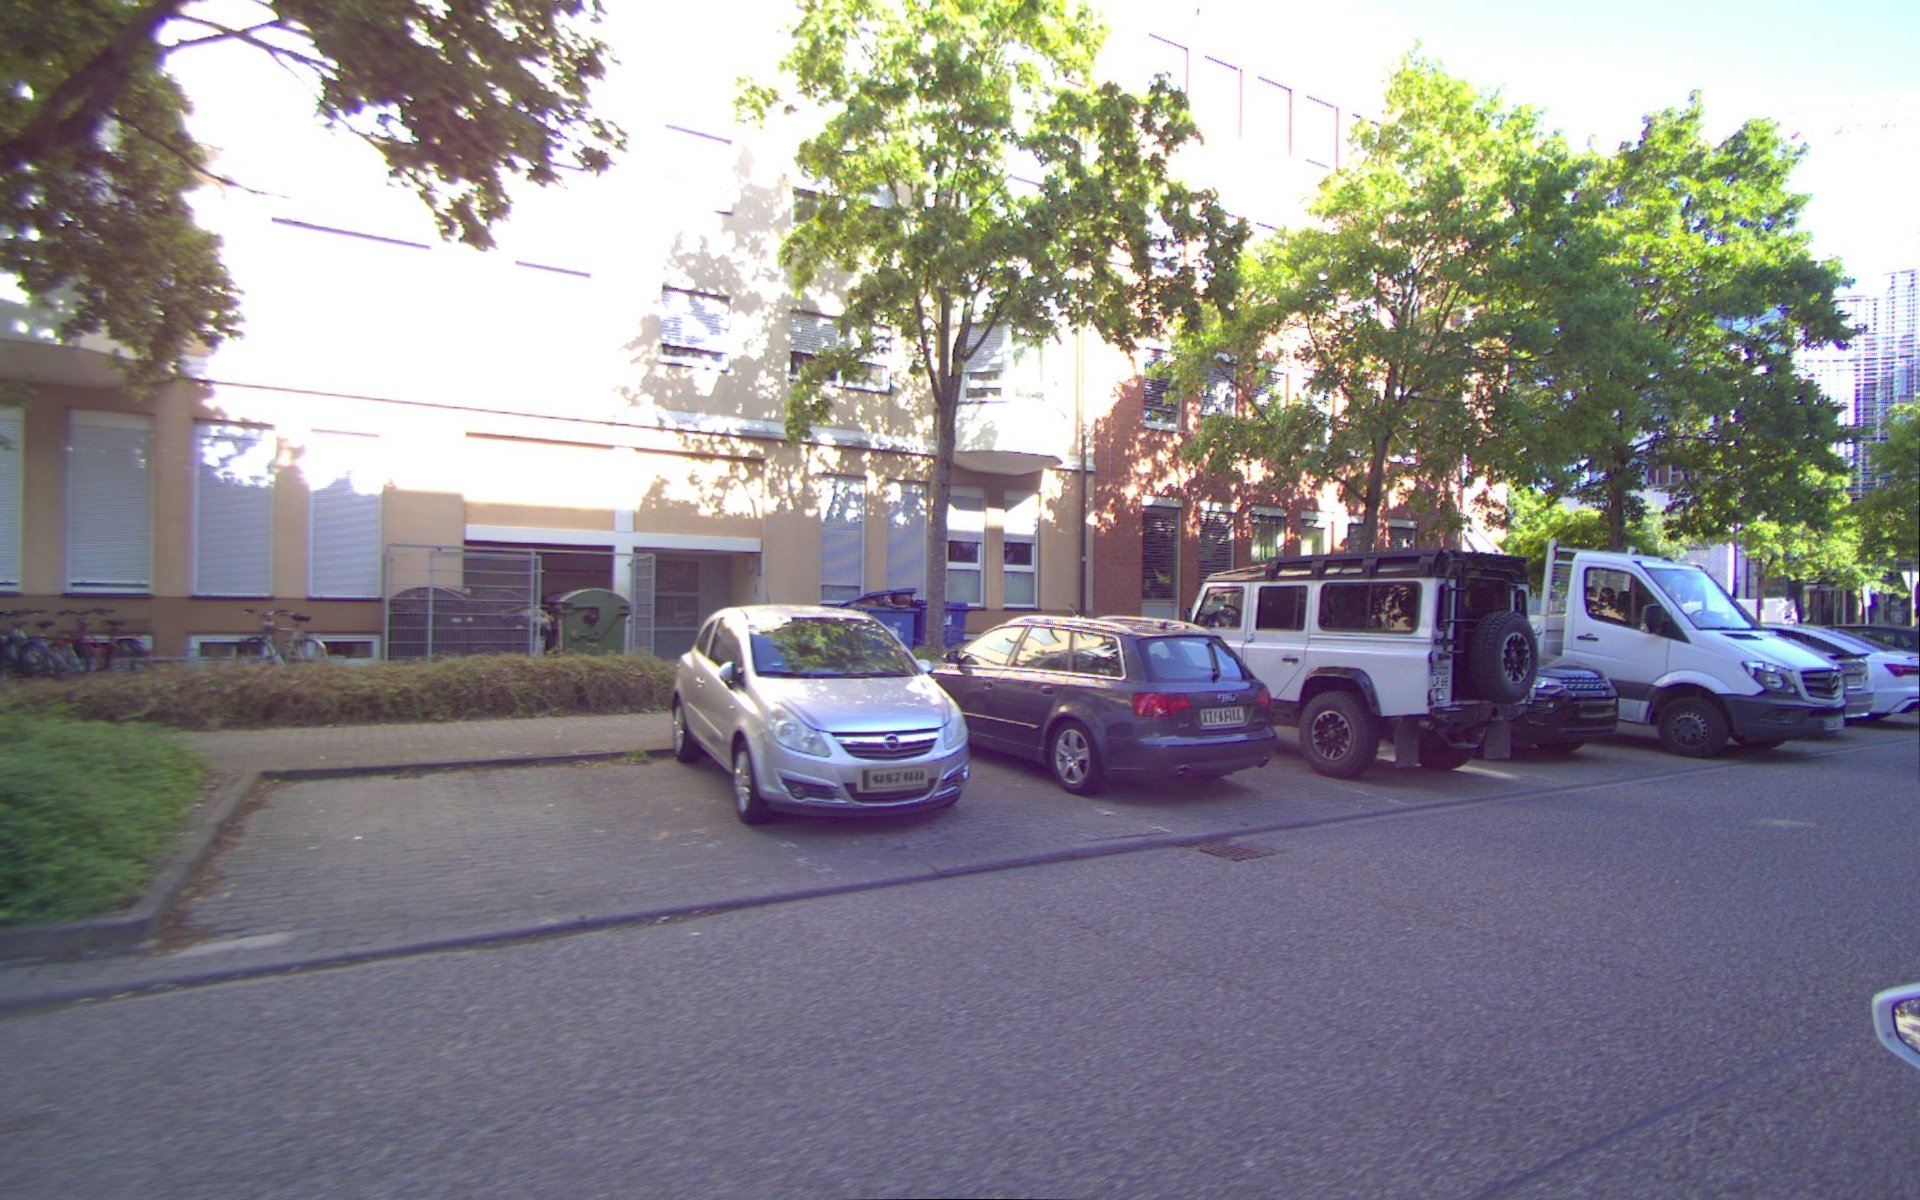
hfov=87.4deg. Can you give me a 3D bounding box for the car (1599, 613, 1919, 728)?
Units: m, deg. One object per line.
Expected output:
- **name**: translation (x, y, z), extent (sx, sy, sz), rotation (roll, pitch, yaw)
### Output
- **car**: translation (13.205, 1.022, 16.220), extent (1.868, 1.461, 4.517), rotation (0, 1, -31)

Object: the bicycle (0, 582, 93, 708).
- **bicycle**: translation (-11.311, 0.516, 12.375), extent (1.702, 1.428, 0.612), rotation (2, 1, 38)

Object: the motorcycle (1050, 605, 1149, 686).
- **motorcycle**: translation (2.908, 0.916, 20.839), extent (2.086, 1.612, 0.710), rotation (1, -1, -32)

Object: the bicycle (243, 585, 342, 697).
- **bicycle**: translation (-9.214, 0.526, 13.847), extent (1.702, 1.428, 0.612), rotation (2, 1, 38)

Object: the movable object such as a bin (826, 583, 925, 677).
- **movable object such as a bin**: translation (-1.564, 0.543, 18.545), extent (1.431, 1.641, 1.134), rotation (1, -1, -42)

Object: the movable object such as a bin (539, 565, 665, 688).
- **movable object such as a bin**: translation (-5.707, 0.409, 15.959), extent (1.644, 1.820, 1.592), rotation (1, -1, -30)

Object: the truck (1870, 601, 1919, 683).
- **truck**: translation (24.674, 1.010, 23.258), extent (2.111, 1.985, 4.966), rotation (1, -1, -28)

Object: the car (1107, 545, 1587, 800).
- **car**: translation (3.741, 0.564, 10.610), extent (1.976, 2.079, 4.460), rotation (1, 1, -30)

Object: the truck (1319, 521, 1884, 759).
- **truck**: translation (8.077, 0.456, 13.604), extent (2.161, 2.454, 6.205), rotation (1, -1, -29)

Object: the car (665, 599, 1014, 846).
- **car**: translation (-1.236, 0.777, 8.365), extent (1.710, 1.480, 3.821), rotation (1, 1, -26)

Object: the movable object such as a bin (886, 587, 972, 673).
- **movable object such as a bin**: translation (-0.593, 0.571, 19.419), extent (1.235, 1.583, 1.134), rotation (1, -1, -42)

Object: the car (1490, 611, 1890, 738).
- **car**: translation (10.589, 0.963, 14.956), extent (1.977, 1.507, 4.404), rotation (1, 0, -31)

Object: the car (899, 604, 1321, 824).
- **car**: translation (1.188, 0.848, 9.374), extent (1.814, 1.512, 3.753), rotation (1, 1, -35)

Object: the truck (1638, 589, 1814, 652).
- **truck**: translation (35.630, 0.940, 46.943), extent (2.549, 2.740, 6.072), rotation (1, -1, -31)

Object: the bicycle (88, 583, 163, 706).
- **bicycle**: translation (-10.586, 0.523, 12.725), extent (0.610, 1.428, 1.707), rotation (1, 1, -43)

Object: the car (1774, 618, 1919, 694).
- **car**: translation (19.340, 1.123, 20.437), extent (1.765, 1.454, 3.974), rotation (1, -1, -26)

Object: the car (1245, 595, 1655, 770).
- **car**: translation (5.723, 0.832, 12.277), extent (1.976, 1.684, 4.088), rotation (1, 1, -29)

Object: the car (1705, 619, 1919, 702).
- **car**: translation (17.051, 1.104, 19.415), extent (1.698, 1.454, 3.977), rotation (1, -1, -24)
